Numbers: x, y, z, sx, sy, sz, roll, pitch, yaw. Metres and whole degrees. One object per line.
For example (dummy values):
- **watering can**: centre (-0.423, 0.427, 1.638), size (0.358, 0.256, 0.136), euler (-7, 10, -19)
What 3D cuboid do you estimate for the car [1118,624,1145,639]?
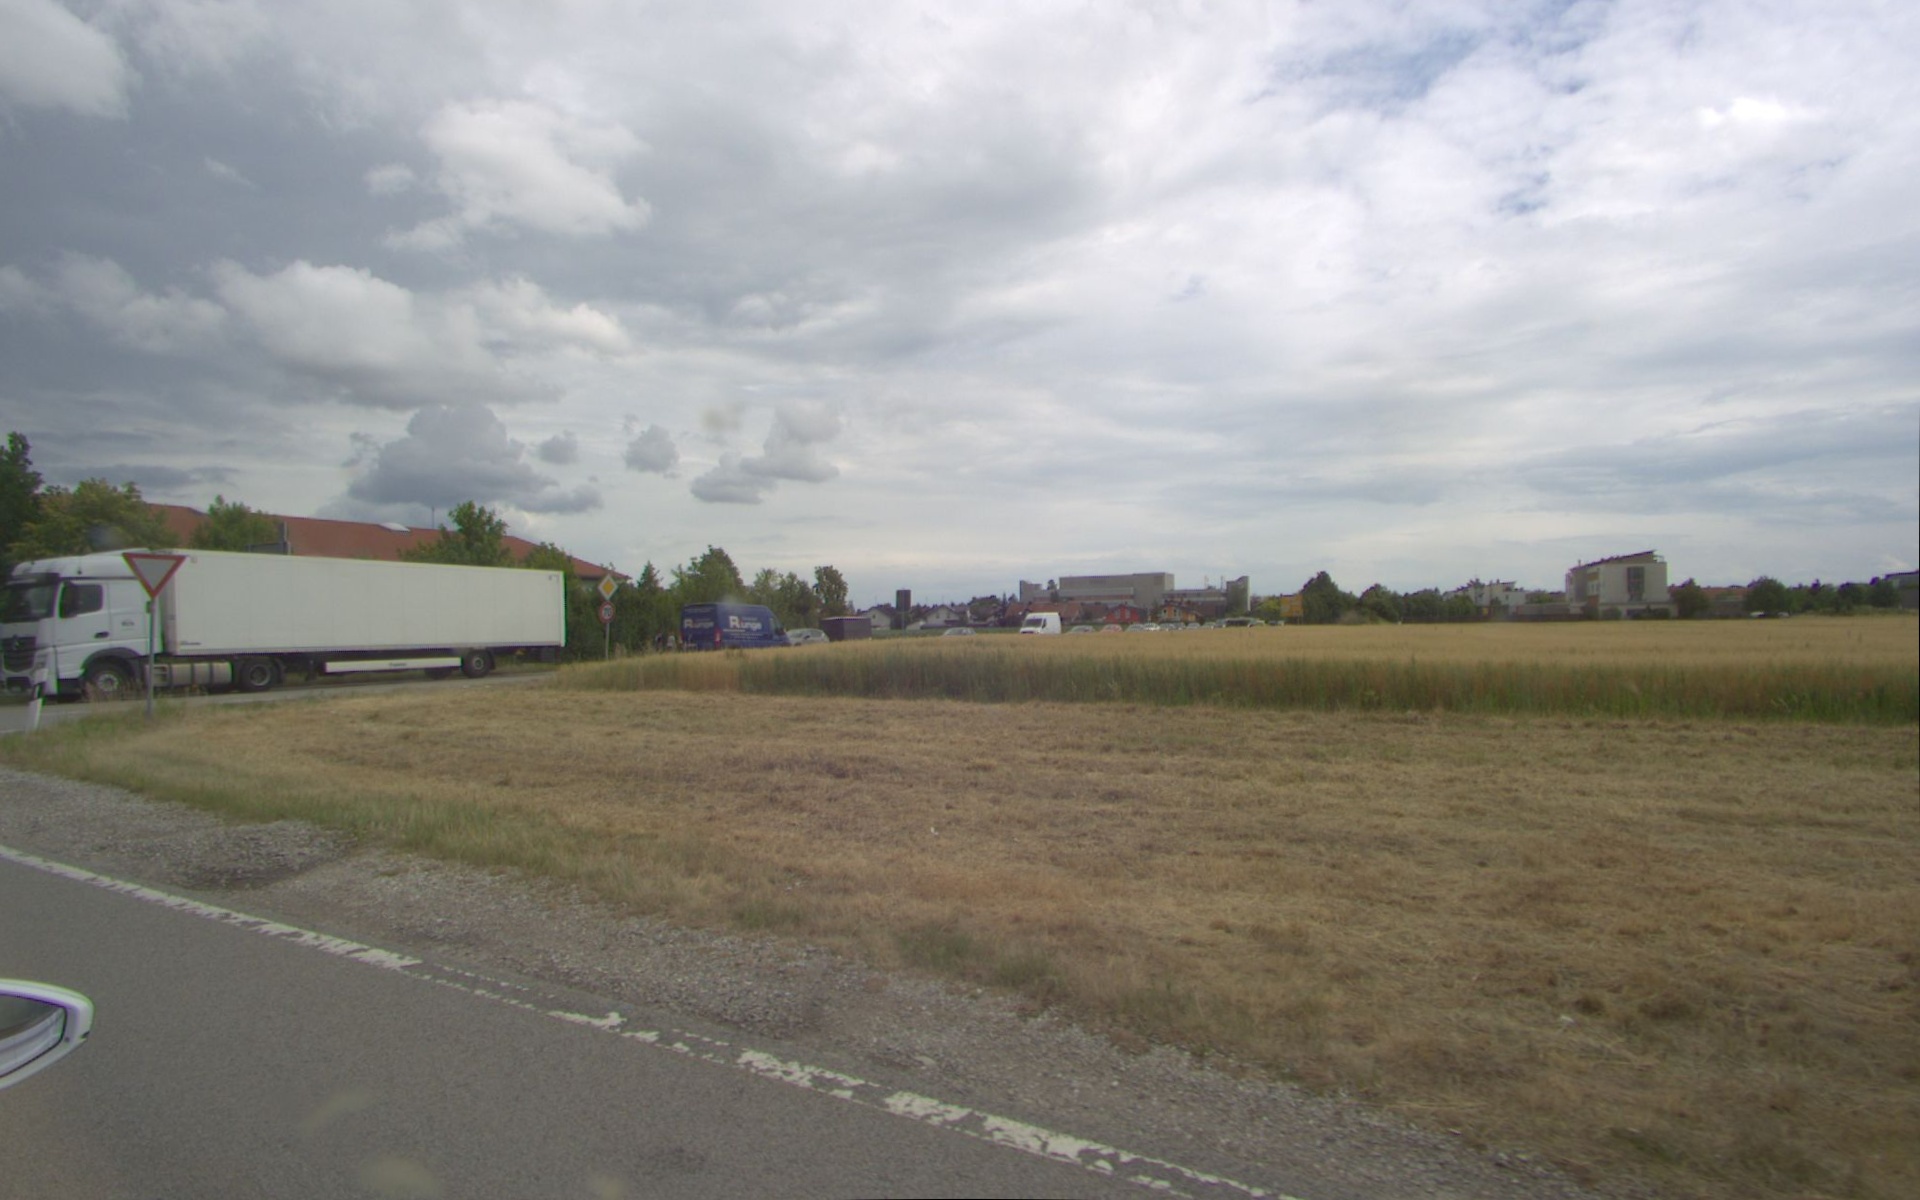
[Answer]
- **car**: centre (18.928, 3.461, 110.572), size (1.827, 1.485, 3.986), euler (-1, -1, 26)

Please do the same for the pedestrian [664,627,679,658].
- **pedestrian**: centre (-16.032, 2.373, 55.625), size (0.521, 1.705, 0.626), euler (0, 1, 22)

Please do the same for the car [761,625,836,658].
- **car**: centre (-8.912, 2.271, 55.646), size (1.967, 1.704, 4.466), euler (-2, -1, 23)

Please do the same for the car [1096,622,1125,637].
- **car**: centre (15.697, 3.040, 104.474), size (1.827, 1.485, 3.986), euler (-1, -1, 26)

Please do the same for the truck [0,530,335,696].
- **truck**: centre (-22.413, 0.443, 28.543), size (3.079, 4.065, 7.284), euler (-2, -2, 25)

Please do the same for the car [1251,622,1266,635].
- **car**: centre (48.925, 4.627, 164.044), size (1.966, 1.915, 3.989), euler (0, 0, 23)

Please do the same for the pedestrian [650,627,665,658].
- **pedestrian**: centre (-16.924, 2.376, 55.990), size (0.521, 1.705, 0.626), euler (0, 1, 22)

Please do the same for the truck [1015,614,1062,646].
- **truck**: centre (6.840, 2.567, 86.816), size (1.968, 2.608, 5.996), euler (-2, -2, 26)

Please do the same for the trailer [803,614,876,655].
- **trailer**: centre (-7.146, 2.028, 59.707), size (2.378, 2.322, 4.383), euler (-2, -1, 24)

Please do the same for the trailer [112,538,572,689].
- **trailer**: centre (-19.766, 0.555, 34.066), size (3.079, 4.065, 13.843), euler (-2, -2, 25)

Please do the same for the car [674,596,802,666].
- **car**: centre (-9.013, 1.215, 41.256), size (2.115, 2.674, 5.549), euler (0, 0, 27)

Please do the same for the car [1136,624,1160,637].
- **car**: centre (22.159, 3.569, 117.699), size (1.826, 1.485, 3.987), euler (-1, -1, 25)

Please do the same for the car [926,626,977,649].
- **car**: centre (-0.536, 2.653, 71.448), size (1.968, 1.506, 4.287), euler (-2, -1, 25)

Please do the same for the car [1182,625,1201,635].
- **car**: centre (32.037, 4.111, 138.531), size (1.826, 1.287, 3.518), euler (-1, -1, 25)

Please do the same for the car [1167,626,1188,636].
- **car**: centre (28.455, 4.049, 130.941), size (1.826, 1.287, 3.518), euler (-1, -1, 25)
